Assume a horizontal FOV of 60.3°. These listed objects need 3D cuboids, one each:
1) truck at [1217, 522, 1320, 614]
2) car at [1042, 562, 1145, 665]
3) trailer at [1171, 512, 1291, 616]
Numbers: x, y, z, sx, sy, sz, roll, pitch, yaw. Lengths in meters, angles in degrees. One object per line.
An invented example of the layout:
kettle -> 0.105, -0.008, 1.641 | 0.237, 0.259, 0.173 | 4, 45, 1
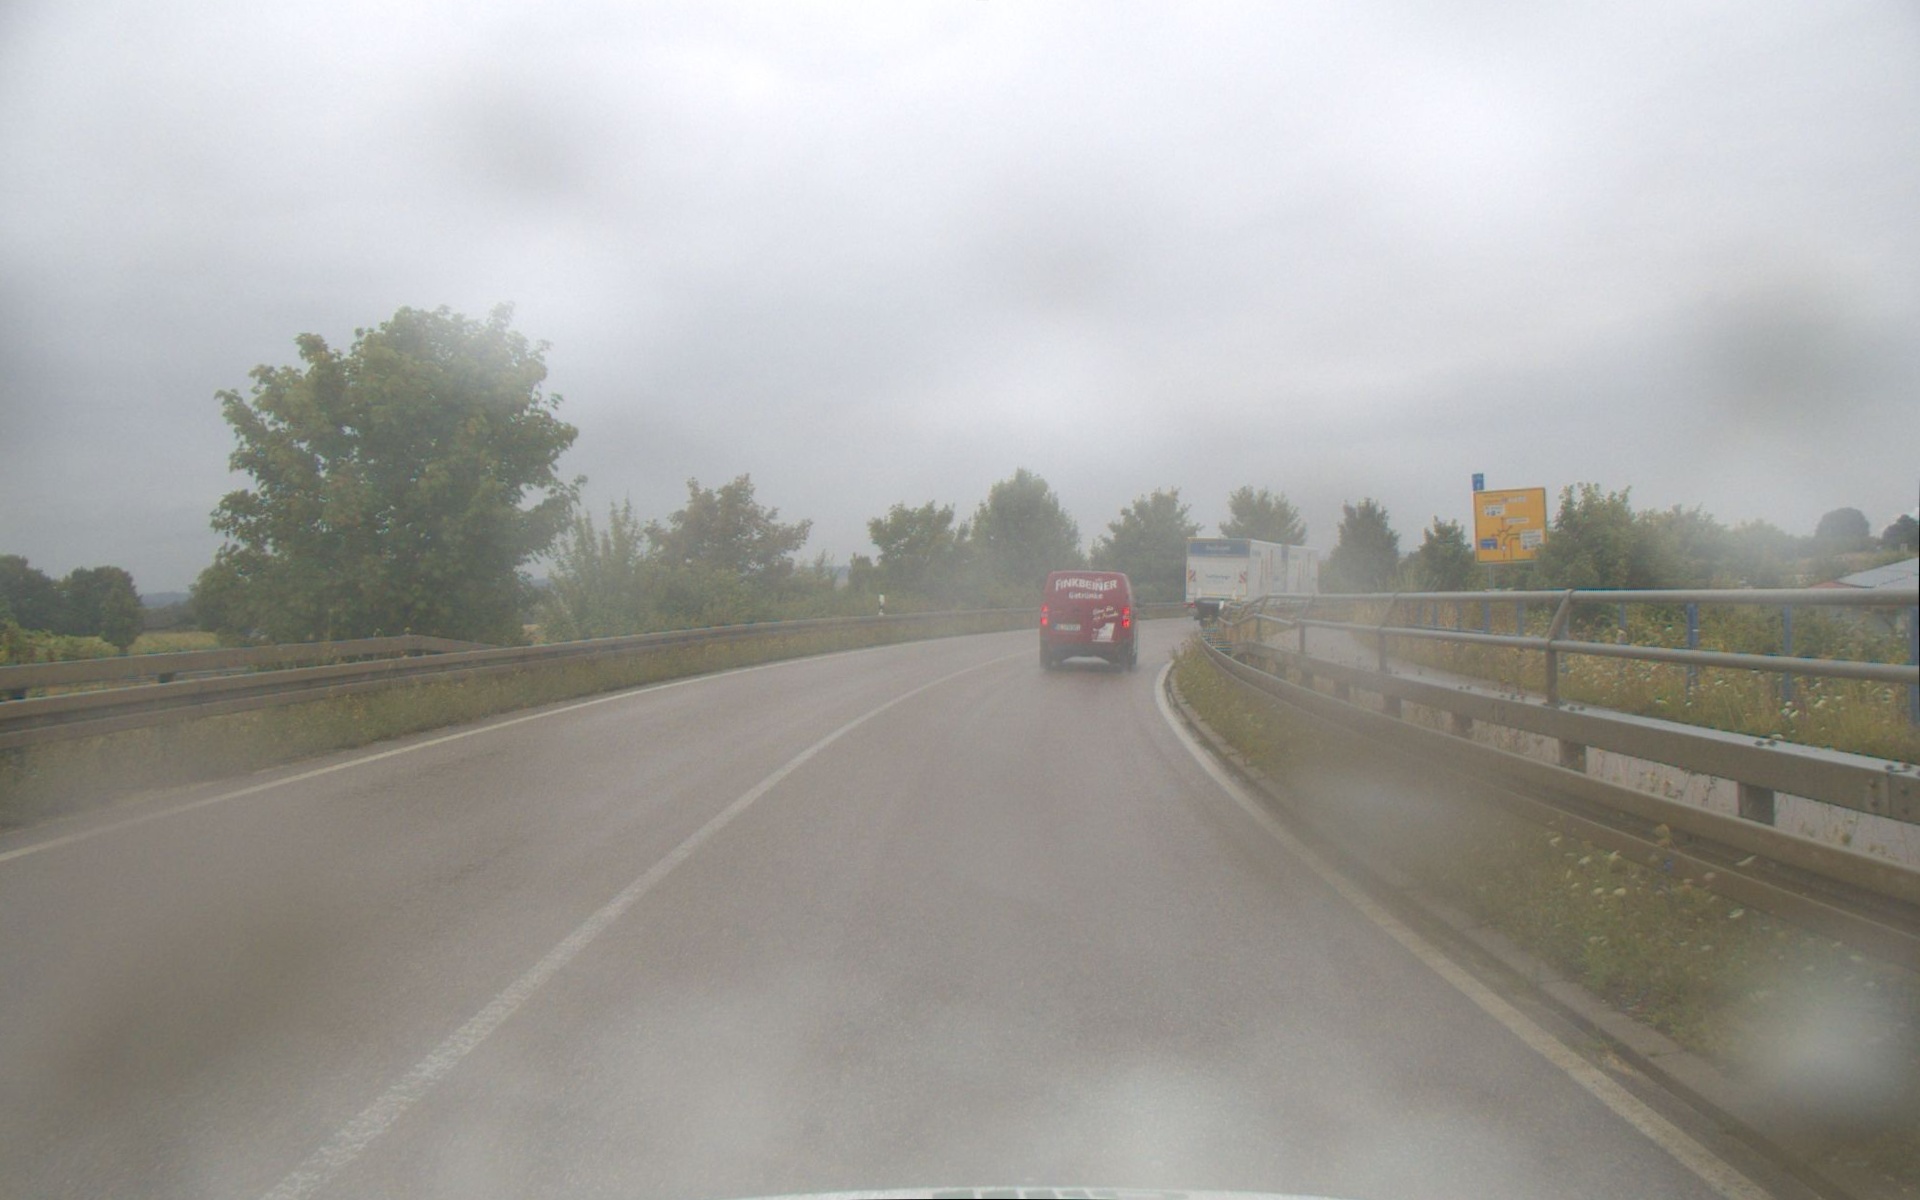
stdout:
truck -> 14.346, -1.431, 76.324 | 3.135, 3.990, 8.740 | 1, 1, 21
car -> 2.765, 0.220, 33.636 | 1.951, 1.959, 4.146 | 0, 1, 6
trailer -> 11.277, -1.433, 68.159 | 3.135, 3.990, 8.740 | 1, 1, 21
